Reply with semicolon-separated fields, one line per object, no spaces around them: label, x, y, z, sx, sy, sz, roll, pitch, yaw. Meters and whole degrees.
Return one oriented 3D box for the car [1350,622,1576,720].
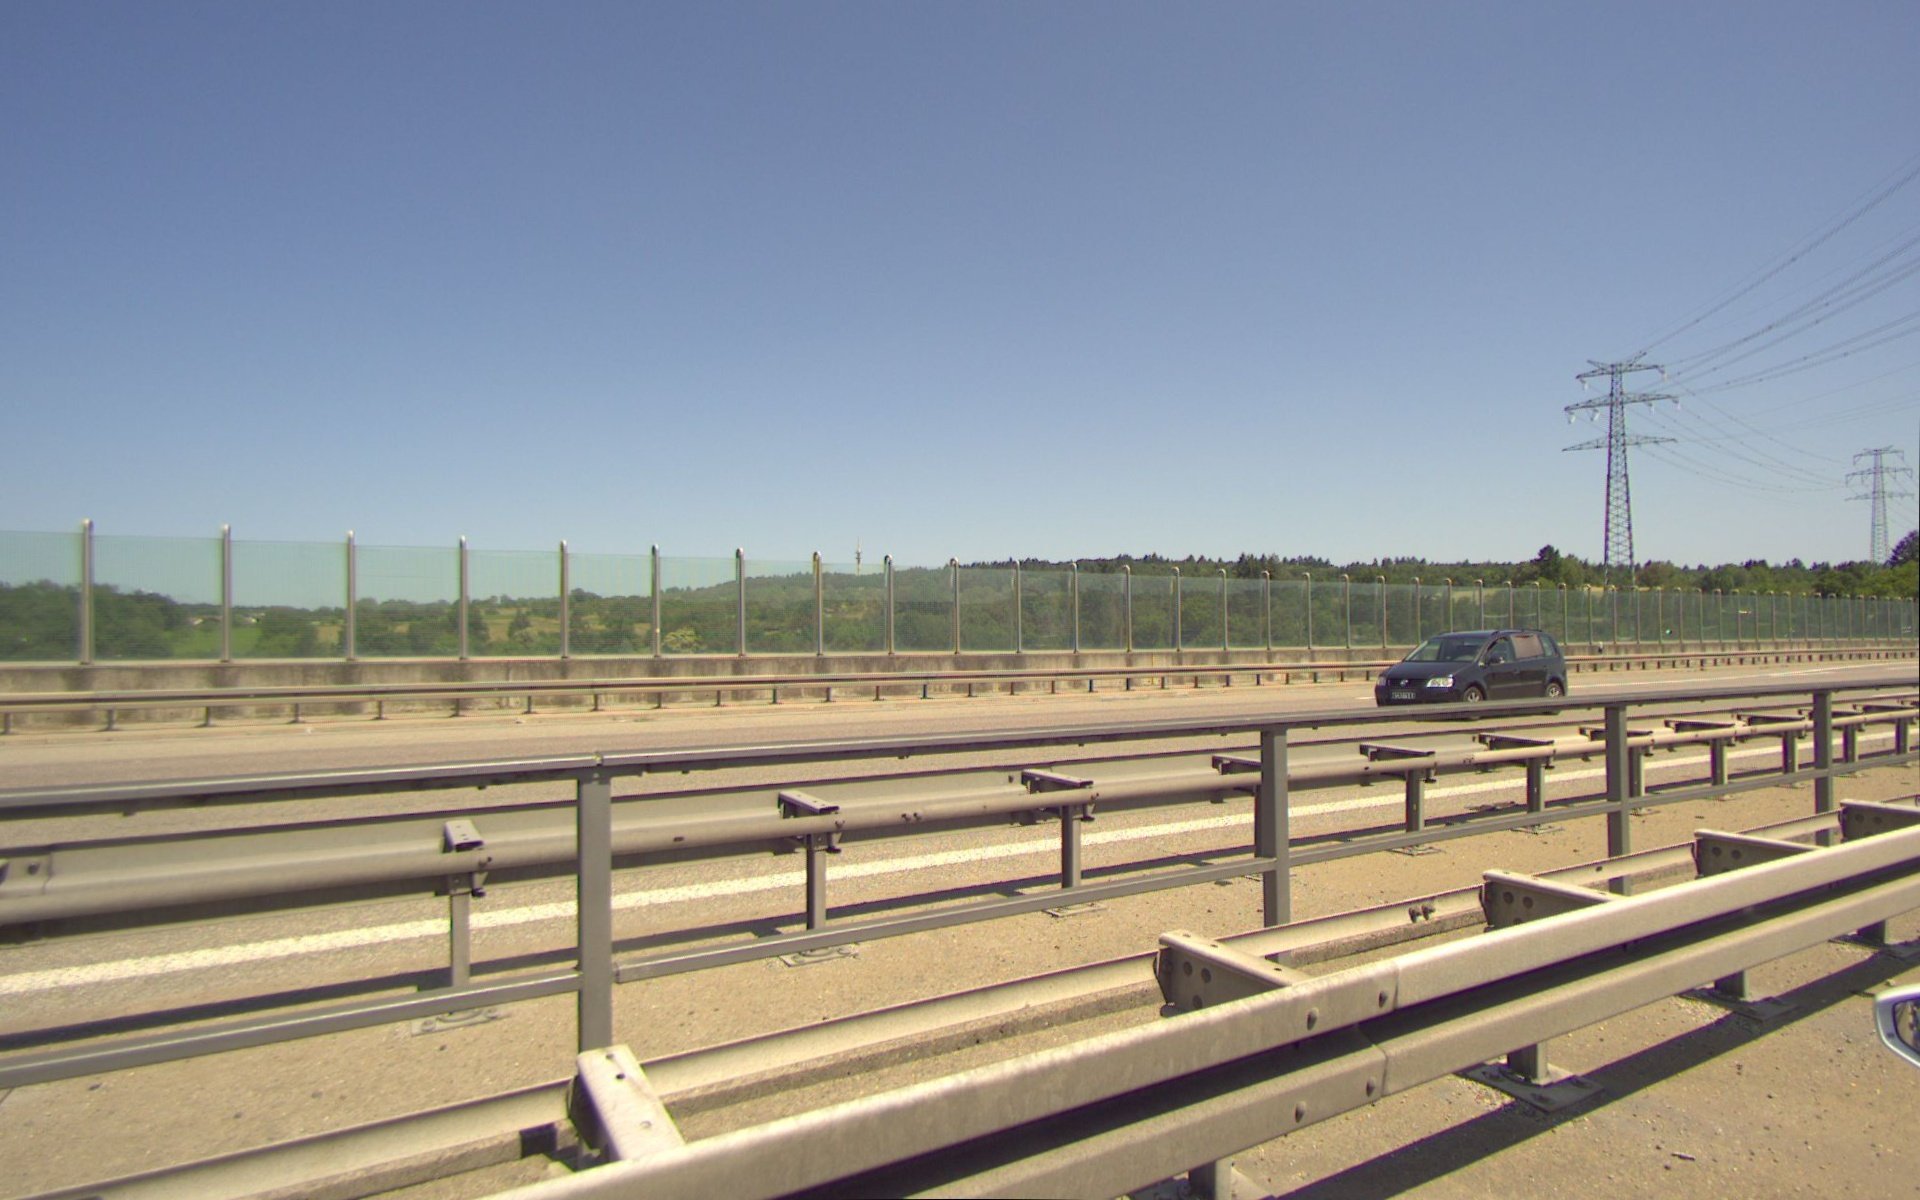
car;9.684;1.305;19.275;4.139;1.694;1.984;1;-3;-32
